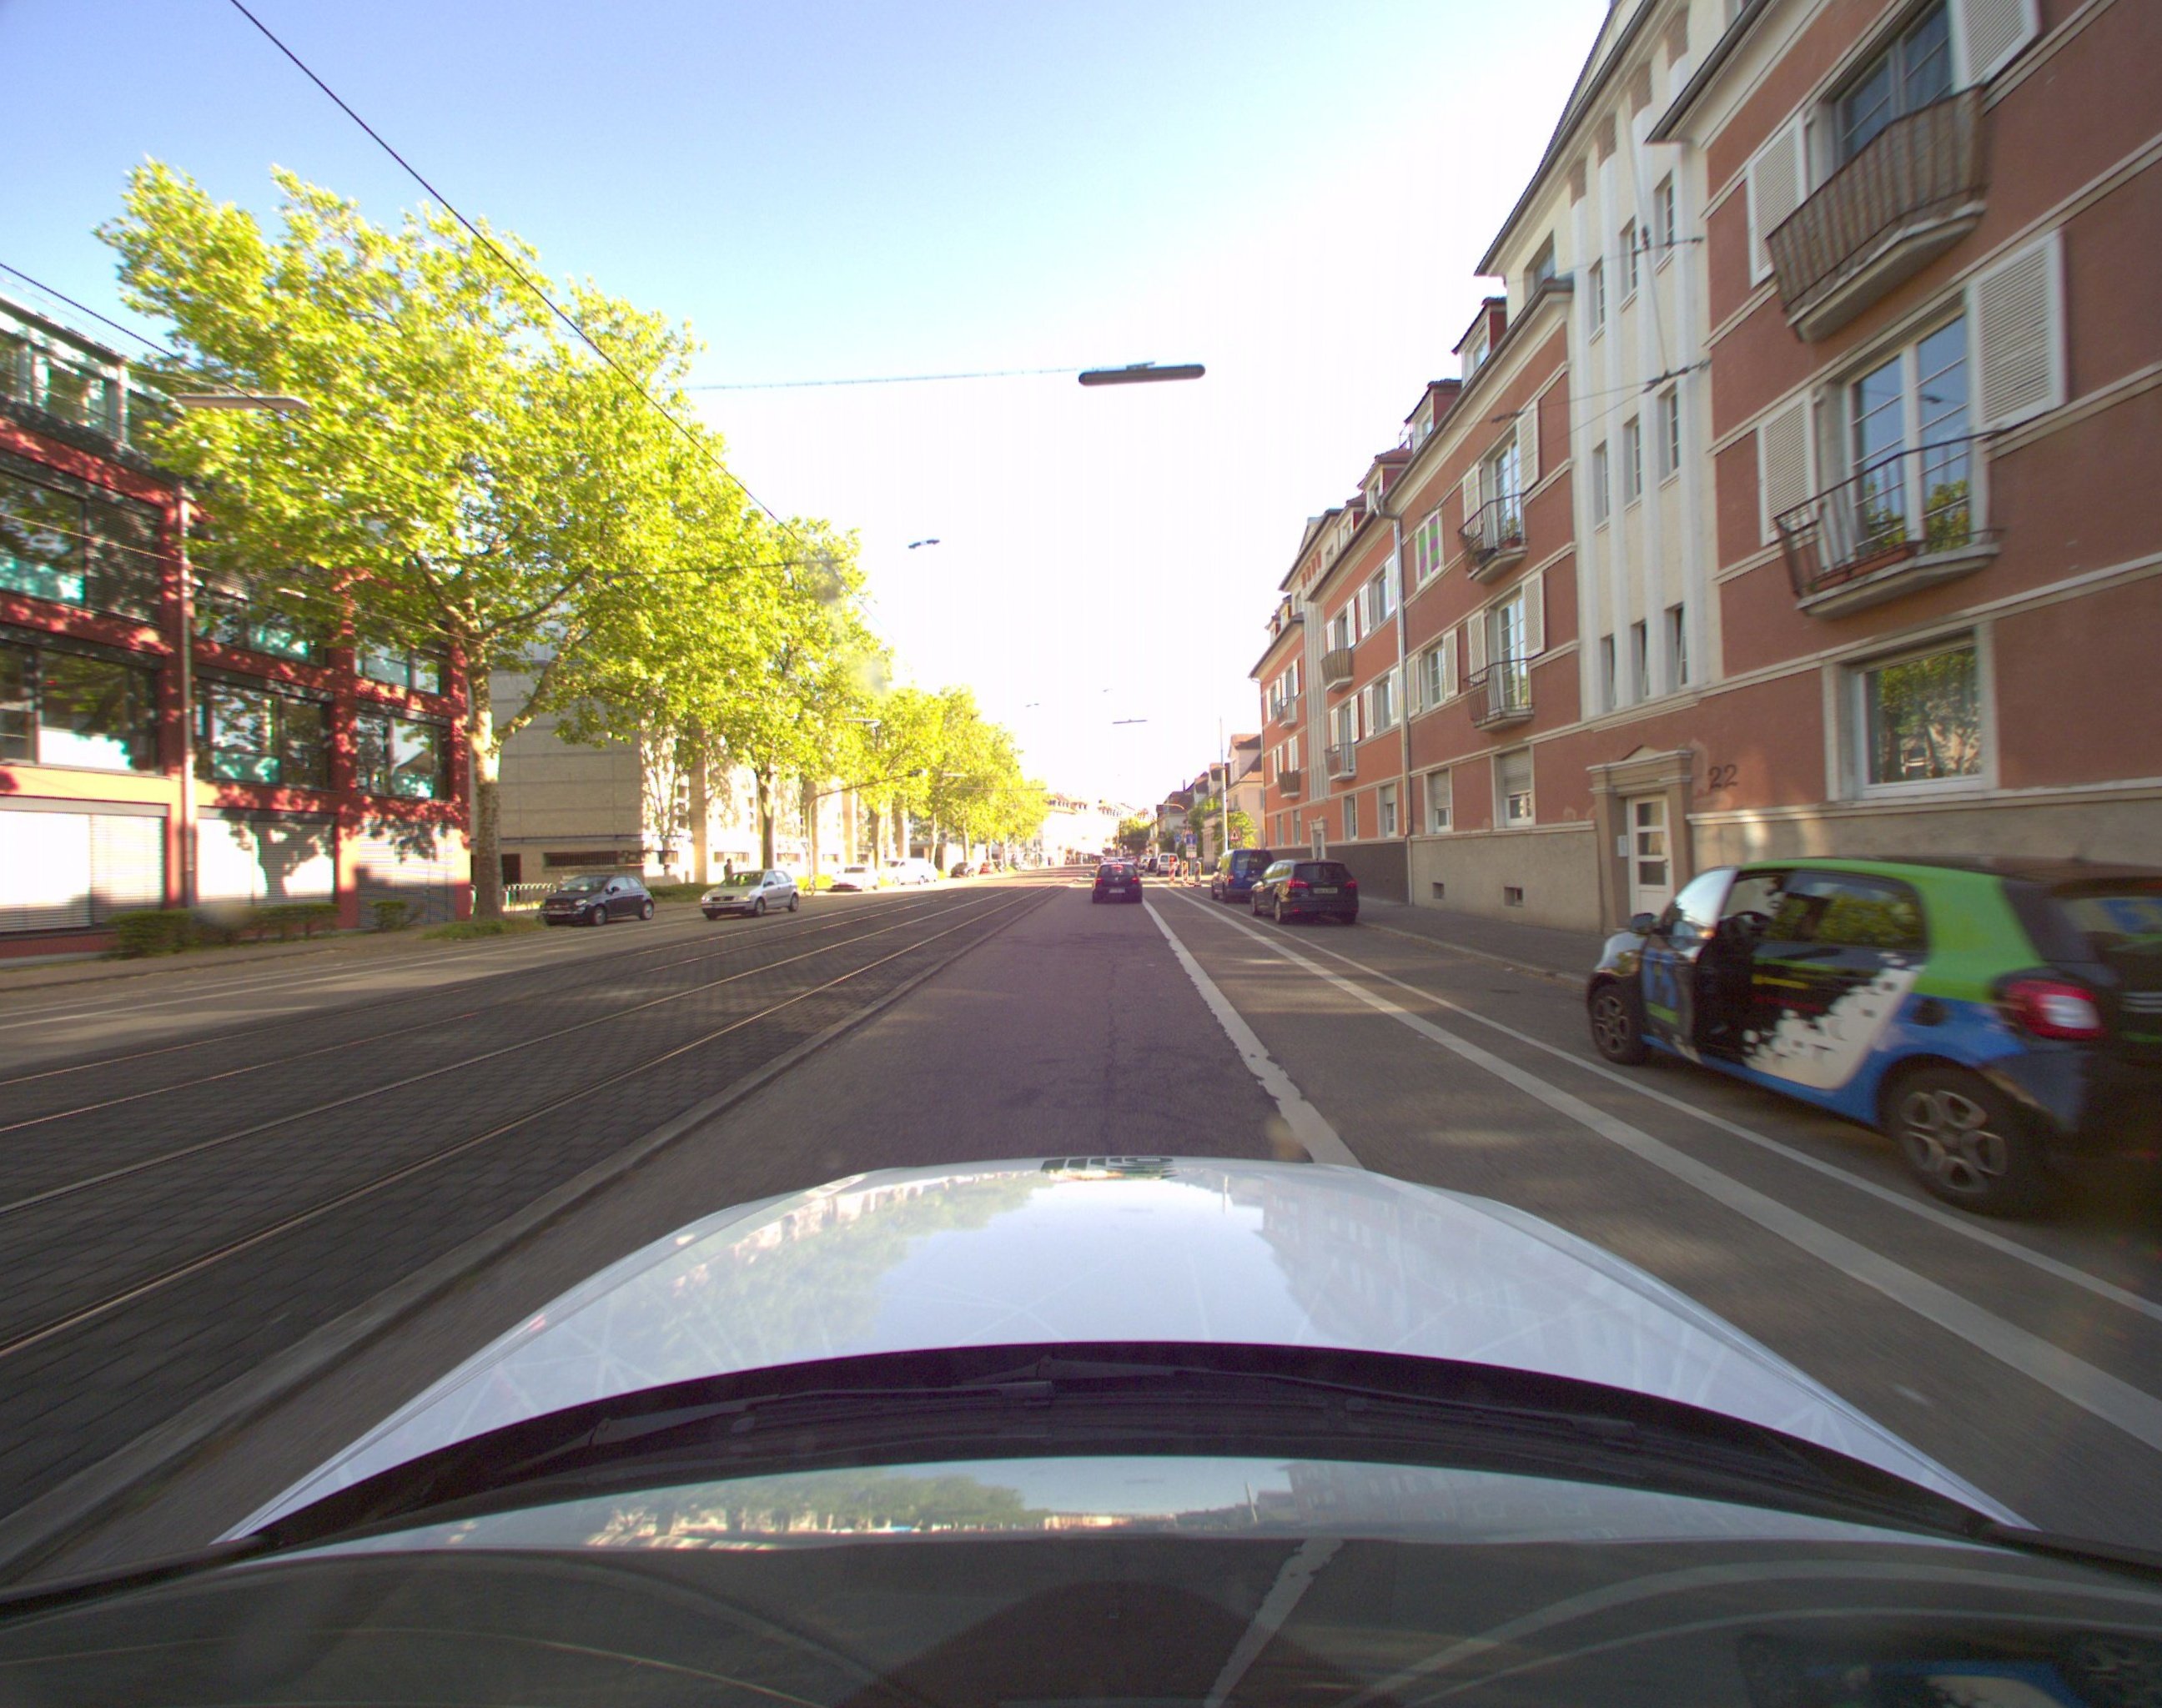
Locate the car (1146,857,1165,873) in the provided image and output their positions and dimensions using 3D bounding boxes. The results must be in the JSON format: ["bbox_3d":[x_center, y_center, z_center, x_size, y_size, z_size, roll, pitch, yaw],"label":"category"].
[{"bbox_3d":[7.601,1.119,83.448,1.654,1.526,4.038,-1,0,2],"label":"car"}]

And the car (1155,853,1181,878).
[{"bbox_3d":[6.789,0.868,63.696,1.752,1.838,3.549,1,0,2],"label":"car"}]

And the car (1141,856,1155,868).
[{"bbox_3d":[8.286,0.990,101.241,1.574,1.375,4.002,-1,0,2],"label":"car"}]

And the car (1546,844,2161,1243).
[{"bbox_3d":[4.608,0.735,4.944,1.625,1.511,3.720,1,0,3],"label":"car"}]

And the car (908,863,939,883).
[{"bbox_3d":[-12.724,1.489,65.970,1.568,1.507,4.092,1,0,2],"label":"car"}]

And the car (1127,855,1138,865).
[{"bbox_3d":[8.189,0.955,130.182,1.630,1.472,3.731,-1,0,2],"label":"car"}]

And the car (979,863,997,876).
[{"bbox_3d":[-11.319,1.849,99.297,1.564,1.533,3.574,-1,-1,2],"label":"car"}]

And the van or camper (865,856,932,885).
[{"bbox_3d":[-13.056,1.161,58.514,2.042,1.949,5.217,1,0,22],"label":"van or camper"}]

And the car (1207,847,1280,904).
[{"bbox_3d":[5.557,0.704,28.318,1.697,1.810,4.271,1,0,1],"label":"car"}]

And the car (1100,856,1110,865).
[{"bbox_3d":[4.377,1.176,146.245,1.630,1.472,3.731,-4,0,2],"label":"car"}]

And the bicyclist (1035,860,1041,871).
[{"bbox_3d":[-7.460,1.964,140.655,0.910,1.833,0.961,1,0,2],"label":"bicyclist"}]

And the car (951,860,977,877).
[{"bbox_3d":[-11.841,1.443,82.697,1.880,1.666,4.002,-1,0,2],"label":"car"}]

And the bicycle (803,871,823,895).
[{"bbox_3d":[-14.025,1.490,42.590,0.580,1.209,1.651,1,0,-4],"label":"bicycle"}]

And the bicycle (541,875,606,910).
[{"bbox_3d":[-18.976,1.442,30.457,2.000,1.278,0.664,0,0,2],"label":"bicycle"}]

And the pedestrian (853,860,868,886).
[{"bbox_3d":[-15.625,1.316,57.696,0.793,1.820,0.670,1,0,2],"label":"pedestrian"}]

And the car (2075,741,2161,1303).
[{"bbox_3d":[4.344,0.540,0.481,1.746,1.855,4.818,0,0,2],"label":"car"}]

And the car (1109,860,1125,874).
[{"bbox_3d":[3.750,1.337,85.715,1.630,1.472,3.731,-1,0,2],"label":"car"}]

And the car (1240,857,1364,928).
[{"bbox_3d":[5.220,0.844,19.897,1.748,1.511,4.762,1,0,0],"label":"car"}]

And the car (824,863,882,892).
[{"bbox_3d":[-13.386,1.360,48.161,2.005,1.572,4.694,1,0,1],"label":"car"}]

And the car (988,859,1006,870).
[{"bbox_3d":[-11.240,1.414,108.728,1.785,1.465,3.837,2,0,2],"label":"car"}]

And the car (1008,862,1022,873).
[{"bbox_3d":[-10.378,2.078,128.063,1.877,1.669,3.805,1,0,1],"label":"car"}]

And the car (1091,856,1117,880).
[{"bbox_3d":[1.626,0.941,56.612,1.741,1.538,3.894,-1,0,3],"label":"car"}]

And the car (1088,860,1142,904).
[{"bbox_3d":[1.141,0.924,28.755,1.742,1.375,4.000,-1,0,1],"label":"car"}]

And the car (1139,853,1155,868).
[{"bbox_3d":[8.547,0.851,106.062,1.810,1.799,4.002,-1,0,2],"label":"car"}]

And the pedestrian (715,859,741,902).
[{"bbox_3d":[-15.722,1.151,36.252,0.663,1.870,0.791,1,0,17],"label":"pedestrian"}]

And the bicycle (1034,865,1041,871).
[{"bbox_3d":[-7.483,2.419,140.753,0.910,1.083,3.204,1,0,2],"label":"bicycle"}]

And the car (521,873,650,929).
[{"bbox_3d":[-14.419,1.316,23.913,1.501,1.454,3.466,-1,-1,3],"label":"car"}]

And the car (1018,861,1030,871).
[{"bbox_3d":[-9.361,1.966,134.313,1.630,1.472,3.731,-1,0,2],"label":"car"}]

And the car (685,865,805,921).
[{"bbox_3d":[-10.350,1.146,25.429,1.745,1.518,4.076,-3,-1,4],"label":"car"}]
